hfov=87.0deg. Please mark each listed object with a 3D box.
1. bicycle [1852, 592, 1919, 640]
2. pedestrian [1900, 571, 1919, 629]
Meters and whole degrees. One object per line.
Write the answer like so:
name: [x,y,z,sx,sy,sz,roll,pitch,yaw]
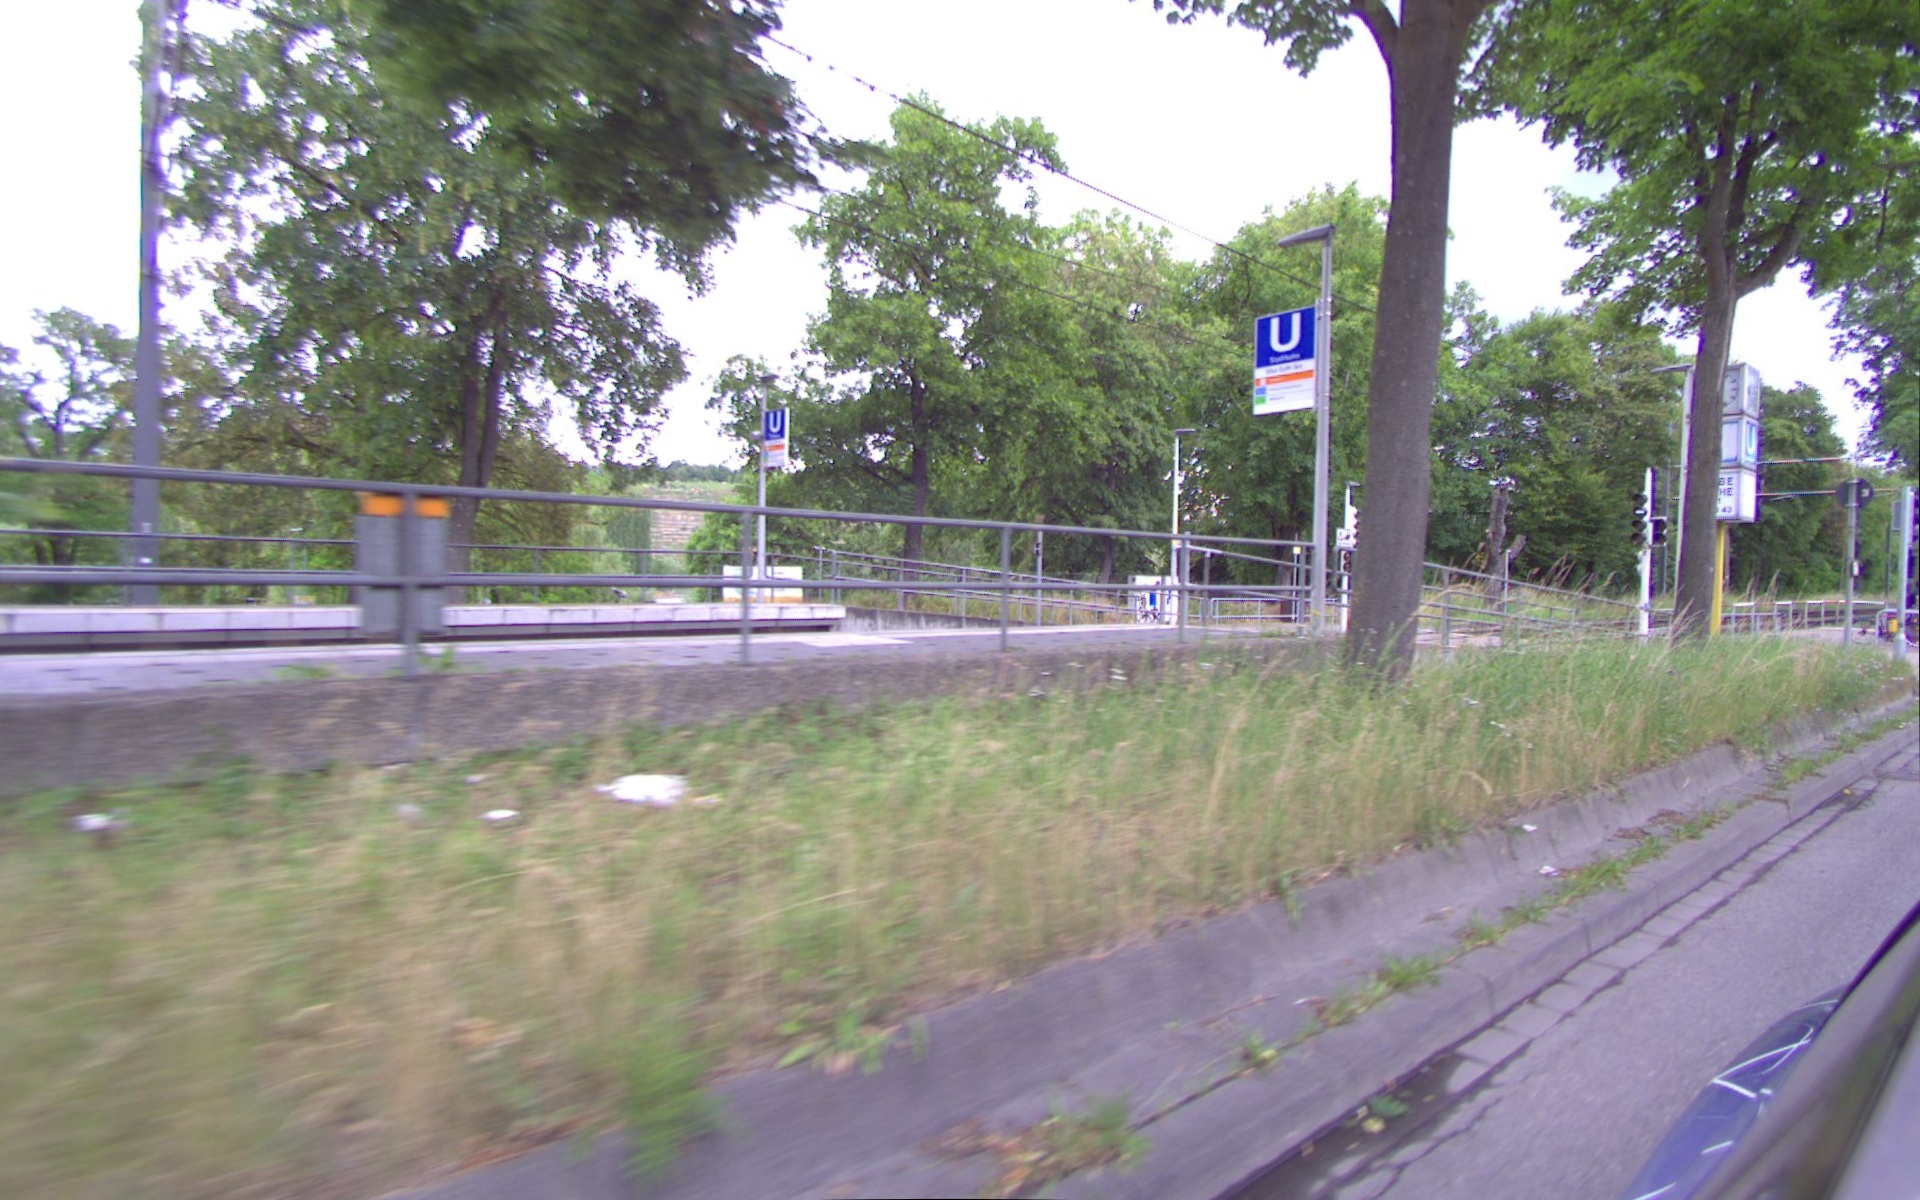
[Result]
bicycle: [23.912,0.398,25.787,0.592,1.103,1.677,-1,5,-43]
pedestrian: [29.992,0.001,31.557,0.824,1.758,0.755,0,4,-36]
